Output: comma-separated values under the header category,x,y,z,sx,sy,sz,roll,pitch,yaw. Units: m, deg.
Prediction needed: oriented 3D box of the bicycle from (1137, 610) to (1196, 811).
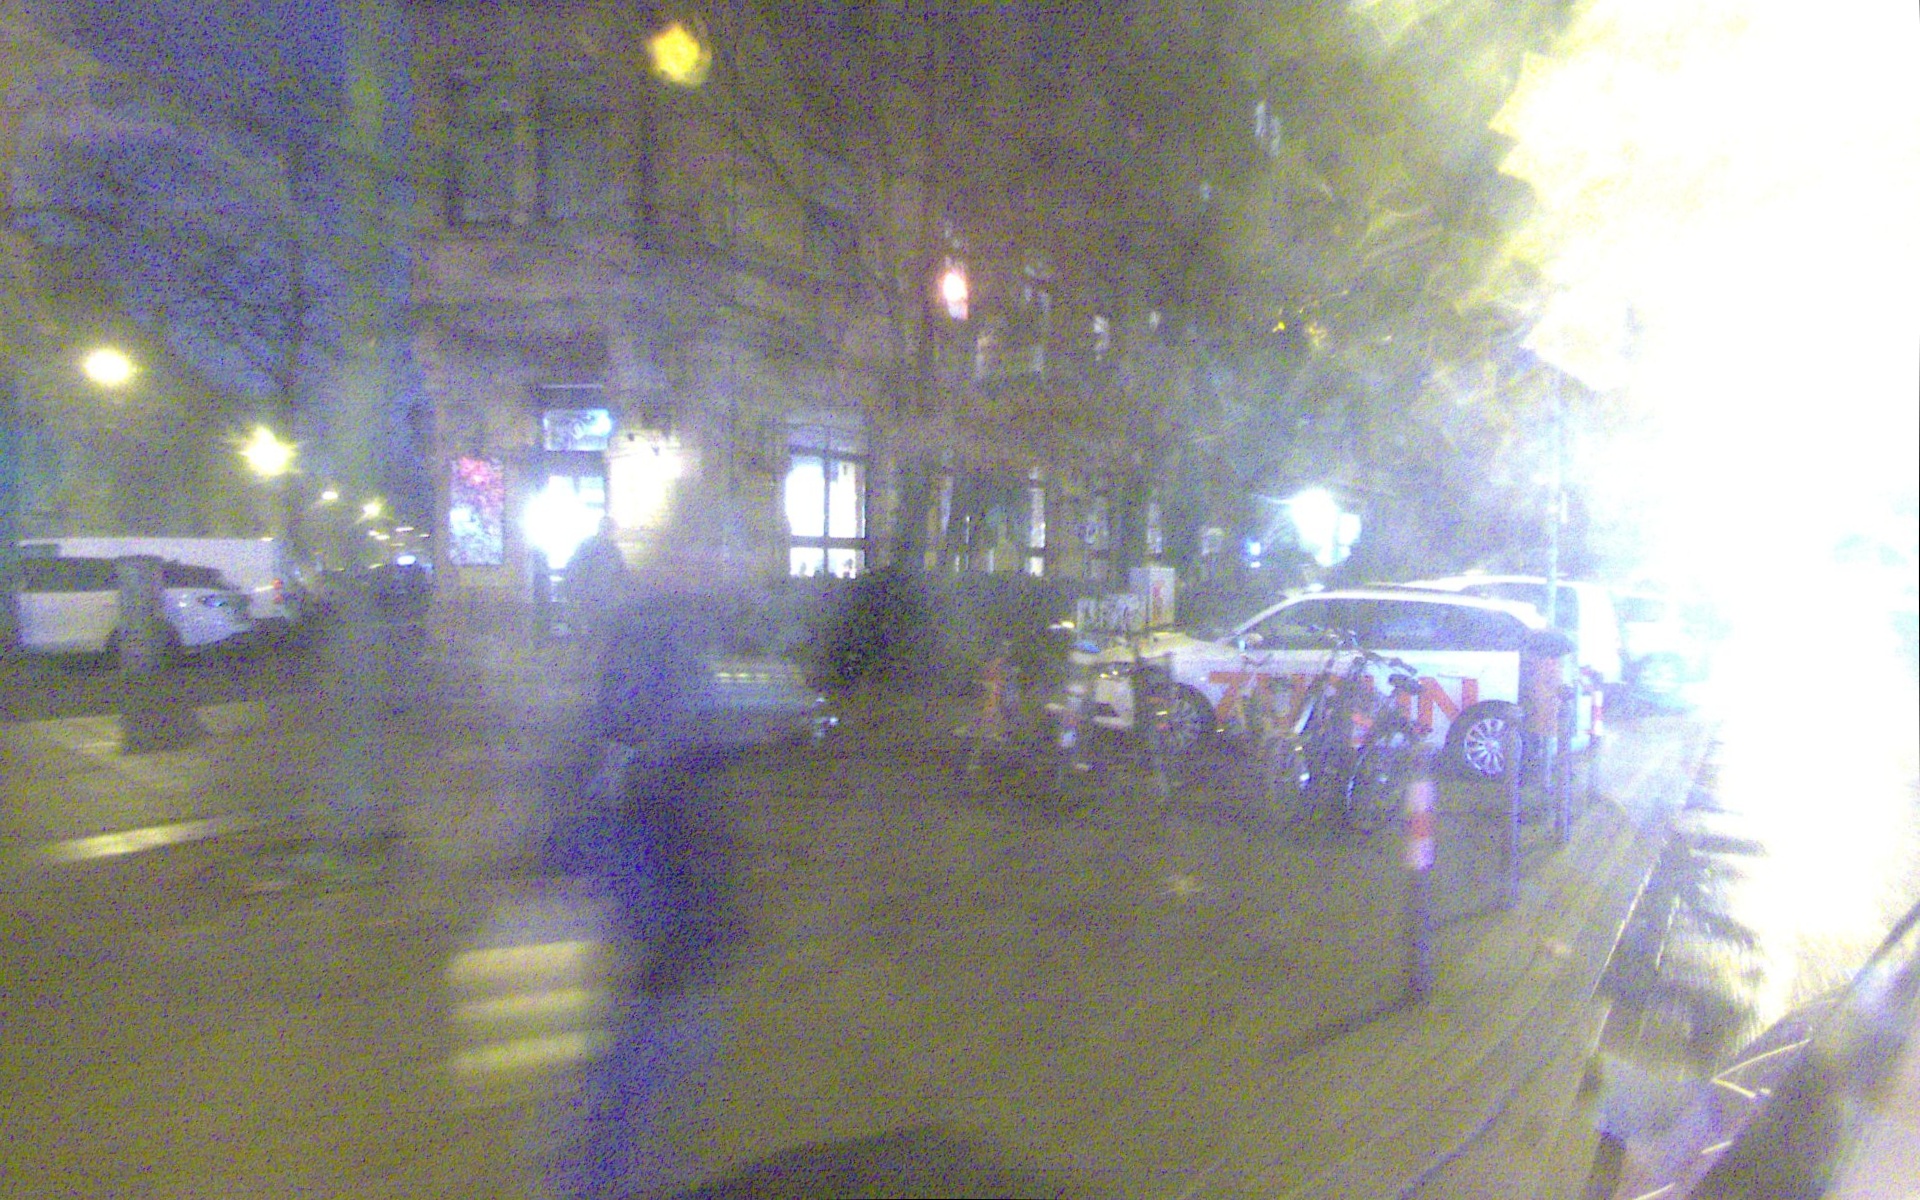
category,x,y,z,sx,sy,sz,roll,pitch,yaw
bicycle,1.363,0.662,6.798,0.330,1.038,1.643,0,5,10

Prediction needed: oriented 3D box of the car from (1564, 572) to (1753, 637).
category,x,y,z,sx,sy,sz,roll,pitch,yaw
car,19.385,0.092,28.238,3.866,1.569,1.741,2,2,7

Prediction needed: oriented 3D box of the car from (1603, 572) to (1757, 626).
category,x,y,z,sx,sy,sz,roll,pitch,yaw
car,24.640,-0.085,34.784,3.883,1.639,1.701,3,2,18

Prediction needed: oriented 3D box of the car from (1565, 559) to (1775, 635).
category,x,y,z,sx,sy,sz,roll,pitch,yaw
car,21.108,-0.129,30.316,4.638,2.004,1.974,2,2,11

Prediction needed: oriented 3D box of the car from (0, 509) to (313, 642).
category,x,y,z,sx,sy,sz,roll,pitch,yaw
car,-13.452,-0.365,15.818,5.435,1.914,2.003,0,0,-27

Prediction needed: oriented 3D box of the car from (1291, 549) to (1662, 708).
category,x,y,z,sx,sy,sz,roll,pitch,yaw
car,6.370,0.288,12.873,3.727,1.733,1.747,2,2,6

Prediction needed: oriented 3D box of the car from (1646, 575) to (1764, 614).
category,x,y,z,sx,sy,sz,roll,pitch,yaw
car,33.890,-0.275,46.160,3.881,1.581,1.702,3,2,17

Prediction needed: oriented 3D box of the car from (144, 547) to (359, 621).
category,x,y,z,sx,sy,sz,roll,pitch,yaw
car,-18.326,-0.416,26.466,4.372,1.785,2.003,0,0,-27

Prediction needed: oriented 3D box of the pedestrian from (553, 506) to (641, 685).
category,x,y,z,sx,sy,sz,roll,pitch,yaw
pedestrian,-3.921,-0.069,10.917,0.794,1.839,0.793,-1,2,-25

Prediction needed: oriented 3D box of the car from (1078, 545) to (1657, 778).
category,x,y,z,sx,sy,sz,roll,pitch,yaw
car,3.221,0.403,8.772,4.197,1.593,1.766,2,2,12

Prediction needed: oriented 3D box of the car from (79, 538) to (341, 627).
category,x,y,z,sx,sy,sz,roll,pitch,yaw
car,-16.346,-0.381,22.381,4.372,1.785,2.003,0,0,-27

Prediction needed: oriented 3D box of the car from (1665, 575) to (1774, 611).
category,x,y,z,sx,sy,sz,roll,pitch,yaw
car,37.582,-0.365,50.159,3.881,1.581,1.702,3,2,17

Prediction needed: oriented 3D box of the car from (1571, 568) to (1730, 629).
category,x,y,z,sx,sy,sz,roll,pitch,yaw
car,22.404,-0.105,33.008,3.883,1.763,1.701,3,2,18

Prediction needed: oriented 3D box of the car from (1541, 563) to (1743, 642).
category,x,y,z,sx,sy,sz,roll,pitch,yaw
car,17.406,0.021,25.986,3.862,1.815,1.743,2,2,3

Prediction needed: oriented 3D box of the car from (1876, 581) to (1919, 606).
category,x,y,z,sx,sy,sz,roll,pitch,yaw
car,60.140,-0.427,64.878,1.844,1.600,3.682,-1,0,39

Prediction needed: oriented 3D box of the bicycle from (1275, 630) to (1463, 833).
category,x,y,z,sx,sy,sz,roll,pitch,yaw
bicycle,2.549,0.764,6.491,0.329,1.039,1.649,2,1,-7

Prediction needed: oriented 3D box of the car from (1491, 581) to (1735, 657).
category,x,y,z,sx,sy,sz,roll,pitch,yaw
car,13.712,0.367,21.444,3.985,1.471,1.677,1,1,5

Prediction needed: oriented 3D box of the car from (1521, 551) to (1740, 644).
category,x,y,z,sx,sy,sz,roll,pitch,yaw
car,15.737,-0.099,23.931,3.862,1.966,1.743,2,2,3

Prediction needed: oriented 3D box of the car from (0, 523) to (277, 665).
category,x,y,z,sx,sy,sz,roll,pitch,yaw
car,-12.374,-0.085,13.688,4.993,1.785,2.003,0,1,-27

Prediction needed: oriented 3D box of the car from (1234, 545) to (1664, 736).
category,x,y,z,sx,sy,sz,roll,pitch,yaw
car,5.022,0.350,10.873,3.675,1.733,1.770,2,2,6

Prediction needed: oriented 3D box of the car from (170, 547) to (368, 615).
category,x,y,z,sx,sy,sz,roll,pitch,yaw
car,-19.286,-0.535,28.528,4.372,1.785,2.003,0,0,-27

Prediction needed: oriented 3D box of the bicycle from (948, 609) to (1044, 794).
category,x,y,z,sx,sy,sz,roll,pitch,yaw
bicycle,0.285,0.635,7.065,0.331,1.039,1.640,2,3,13

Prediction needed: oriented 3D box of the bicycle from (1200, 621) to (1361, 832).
category,x,y,z,sx,sy,sz,roll,pitch,yaw
bicycle,1.985,0.728,6.476,0.329,1.039,1.649,2,3,-5

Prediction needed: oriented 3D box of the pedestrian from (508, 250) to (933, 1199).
category,x,y,z,sx,sy,sz,roll,pitch,yaw
pedestrian,-0.545,0.314,2.176,0.589,1.793,0.828,-1,0,-38

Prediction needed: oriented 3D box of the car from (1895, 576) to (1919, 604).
category,x,y,z,sx,sy,sz,roll,pitch,yaw
car,55.392,-0.599,58.379,1.844,1.600,3.682,-1,0,39

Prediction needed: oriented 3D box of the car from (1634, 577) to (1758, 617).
category,x,y,z,sx,sy,sz,roll,pitch,yaw
car,31.604,-0.160,43.595,3.881,1.481,1.702,3,2,17

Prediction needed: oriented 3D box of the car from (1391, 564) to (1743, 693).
category,x,y,z,sx,sy,sz,roll,pitch,yaw
car,8.776,0.340,15.023,4.011,1.617,1.828,2,2,13

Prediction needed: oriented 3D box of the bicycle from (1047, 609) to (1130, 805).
category,x,y,z,sx,sy,sz,roll,pitch,yaw
bicycle,0.894,0.641,6.806,0.331,1.106,1.639,2,1,14

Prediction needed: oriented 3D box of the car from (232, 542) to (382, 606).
category,x,y,z,sx,sy,sz,roll,pitch,yaw
car,-22.069,-0.874,34.386,3.916,2.039,2.004,-2,0,-21

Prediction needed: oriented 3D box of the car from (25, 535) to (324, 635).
category,x,y,z,sx,sy,sz,roll,pitch,yaw
car,-15.270,-0.298,20.031,4.372,1.785,2.003,0,0,-27

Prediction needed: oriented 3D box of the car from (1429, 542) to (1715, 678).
category,x,y,z,sx,sy,sz,roll,pitch,yaw
car,10.273,0.116,17.240,3.674,2.053,1.720,2,2,5
